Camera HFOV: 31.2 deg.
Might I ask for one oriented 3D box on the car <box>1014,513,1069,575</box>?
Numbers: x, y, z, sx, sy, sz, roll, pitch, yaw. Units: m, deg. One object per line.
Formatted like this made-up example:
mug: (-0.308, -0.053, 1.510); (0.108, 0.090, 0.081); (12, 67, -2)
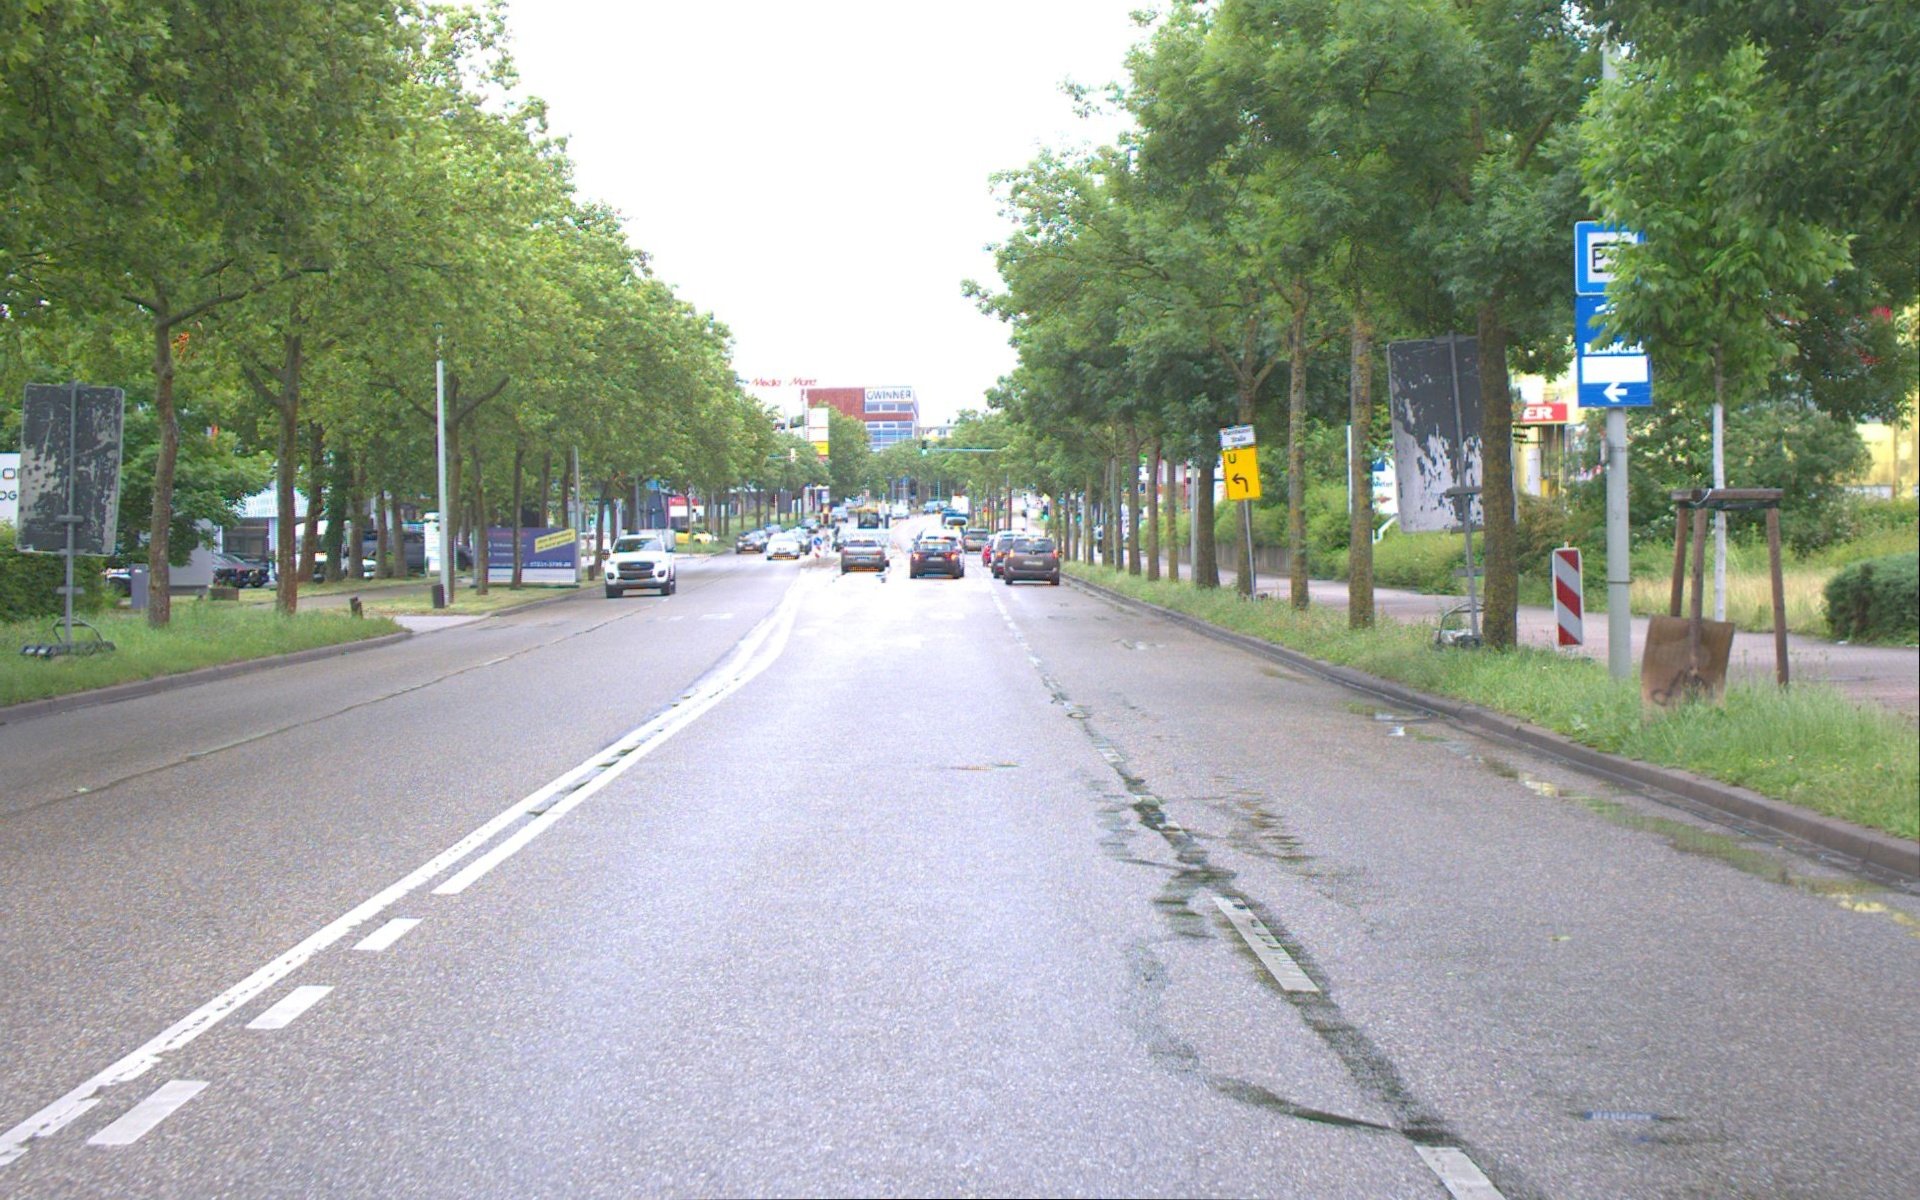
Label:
car: (2.702, -1.884, 114.863); (1.745, 2.007, 4.000); (-2, 1, 1)

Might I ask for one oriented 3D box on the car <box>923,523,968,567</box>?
car: (-0.587, -2.294, 142.154); (1.745, 1.731, 4.000); (-2, 1, 1)

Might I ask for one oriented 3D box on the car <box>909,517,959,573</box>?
car: (-0.963, -2.053, 128.636); (1.745, 2.007, 4.000); (-2, 1, 1)

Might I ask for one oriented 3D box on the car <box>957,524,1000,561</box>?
car: (0.914, -2.849, 169.934); (1.993, 1.787, 4.000); (-2, 1, -1)

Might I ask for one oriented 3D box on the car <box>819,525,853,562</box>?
car: (-6.992, -3.193, 193.281); (1.826, 2.007, 4.001); (-2, 1, -2)

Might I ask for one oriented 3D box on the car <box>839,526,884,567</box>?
car: (-4.325, -2.368, 151.446); (1.745, 1.695, 4.000); (-2, 1, 1)

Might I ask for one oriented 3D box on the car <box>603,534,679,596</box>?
car: (-9.330, -1.055, 100.732); (1.704, 1.731, 4.000); (-2, 1, 2)

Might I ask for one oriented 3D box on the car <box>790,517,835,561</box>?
car: (-7.029, -2.923, 164.377); (1.993, 2.007, 4.000); (-2, 1, -1)

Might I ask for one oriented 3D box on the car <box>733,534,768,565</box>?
car: (-13.901, -3.373, 228.381); (2.216, 2.007, 4.001); (-2, 1, -2)

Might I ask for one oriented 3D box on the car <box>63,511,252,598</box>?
car: (-18.916, -1.068, 81.162); (3.987, 1.918, 1.826); (-2, 0, 0)

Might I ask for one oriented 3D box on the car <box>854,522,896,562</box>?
car: (-4.100, -2.795, 166.101); (1.891, 1.870, 4.124); (-2, 1, -1)

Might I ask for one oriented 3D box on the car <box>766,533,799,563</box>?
car: (-10.292, -3.025, 199.765); (1.826, 1.722, 4.001); (-2, 1, -2)
